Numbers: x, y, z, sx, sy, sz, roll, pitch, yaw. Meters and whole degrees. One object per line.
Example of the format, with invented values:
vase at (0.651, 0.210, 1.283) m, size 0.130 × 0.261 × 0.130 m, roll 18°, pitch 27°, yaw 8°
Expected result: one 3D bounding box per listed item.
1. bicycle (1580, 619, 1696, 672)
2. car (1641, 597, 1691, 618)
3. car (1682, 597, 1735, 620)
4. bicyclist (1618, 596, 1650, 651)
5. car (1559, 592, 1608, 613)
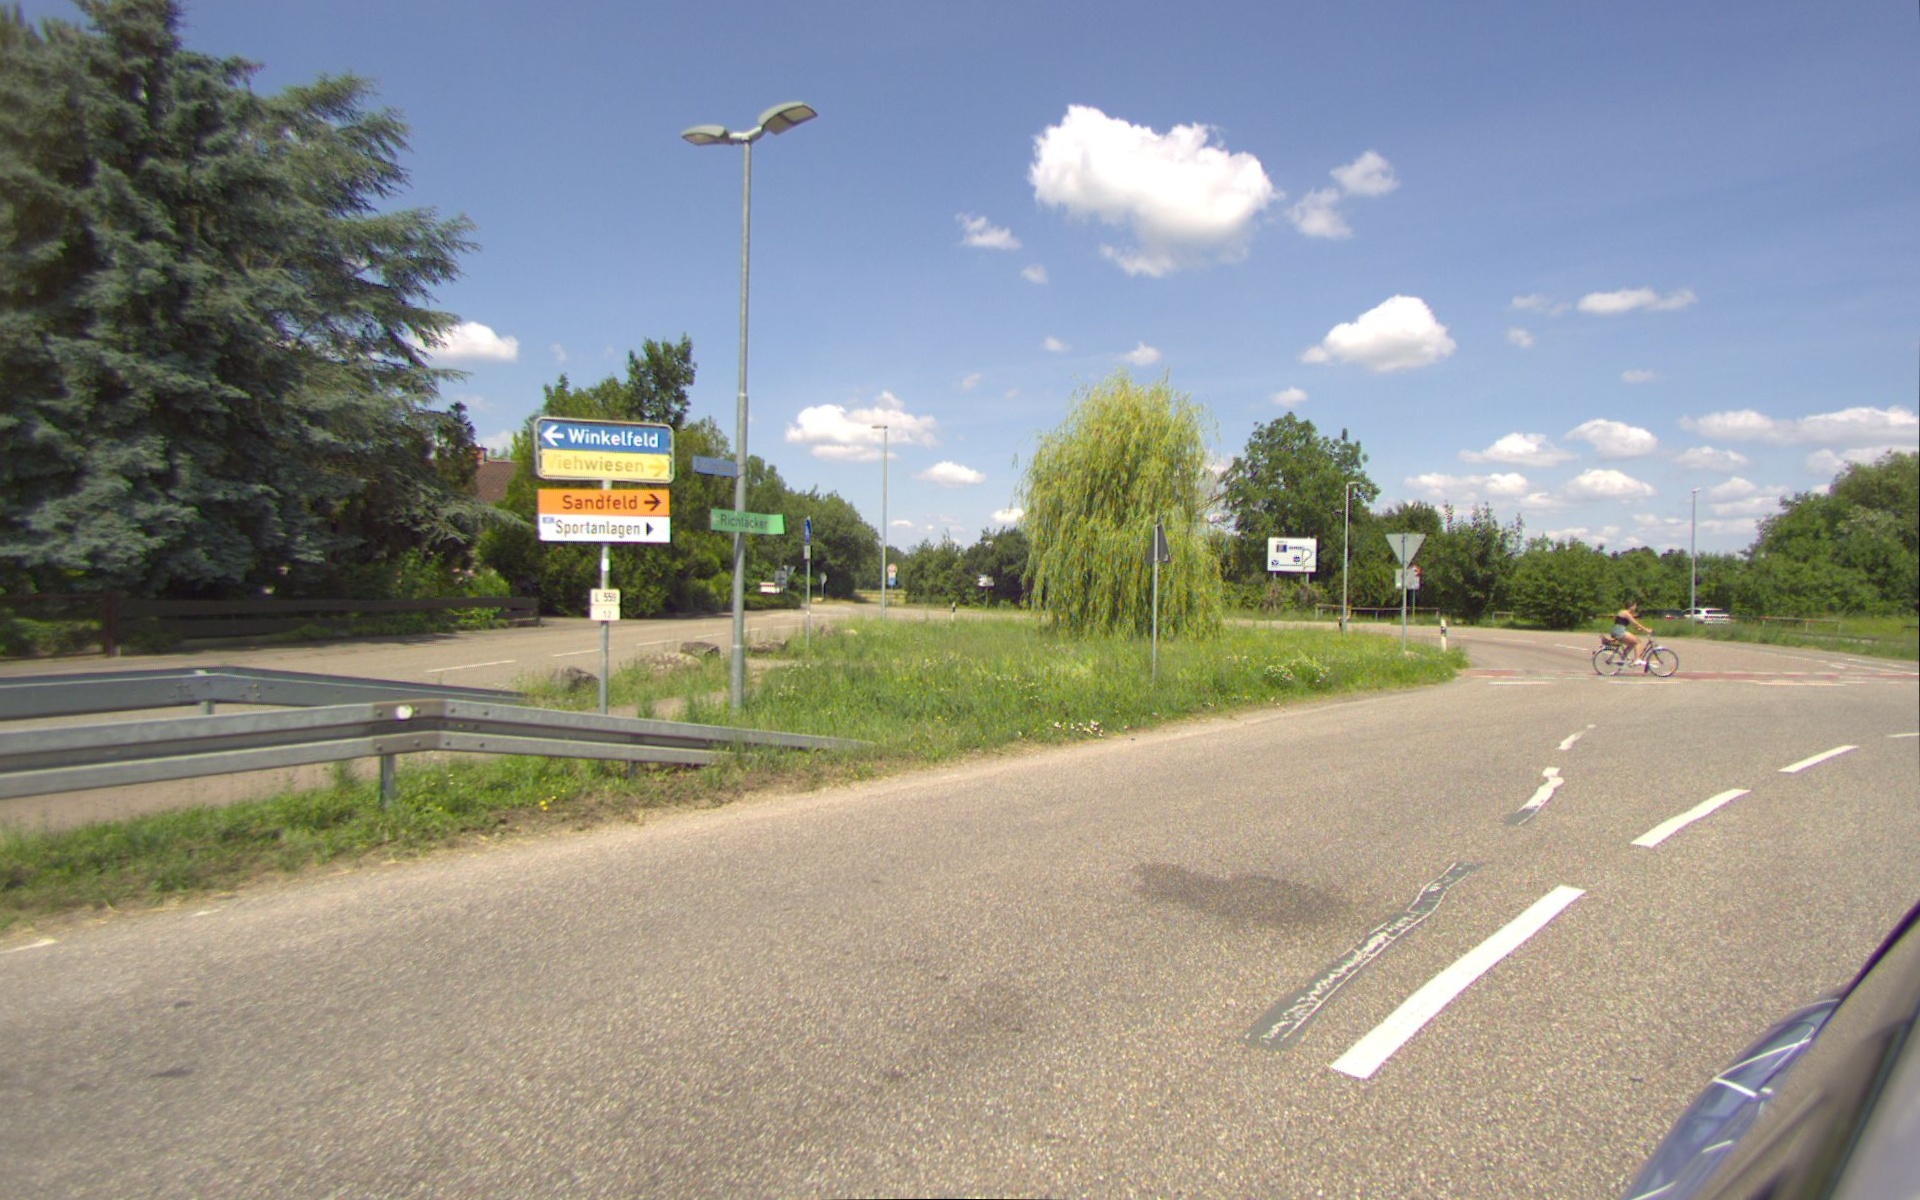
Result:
bicycle at (15.662, 1.042, 23.443) m, size 2.121 × 1.179 × 0.656 m, roll -1°, pitch -1°, yaw 22°
car at (46.900, 0.488, 67.287) m, size 1.394 × 1.355 × 3.113 m, roll 0°, pitch -1°, yaw 5°
car at (49.819, 0.577, 67.406) m, size 1.393 × 1.524 × 3.113 m, roll 0°, pitch -1°, yaw 5°
bicyclist at (15.575, 0.539, 23.392) m, size 0.505 × 1.271 × 0.466 m, roll -1°, pitch -1°, yaw 22°
car at (41.809, 0.192, 67.950) m, size 1.392 × 1.355 × 3.116 m, roll 0°, pitch -1°, yaw 2°
